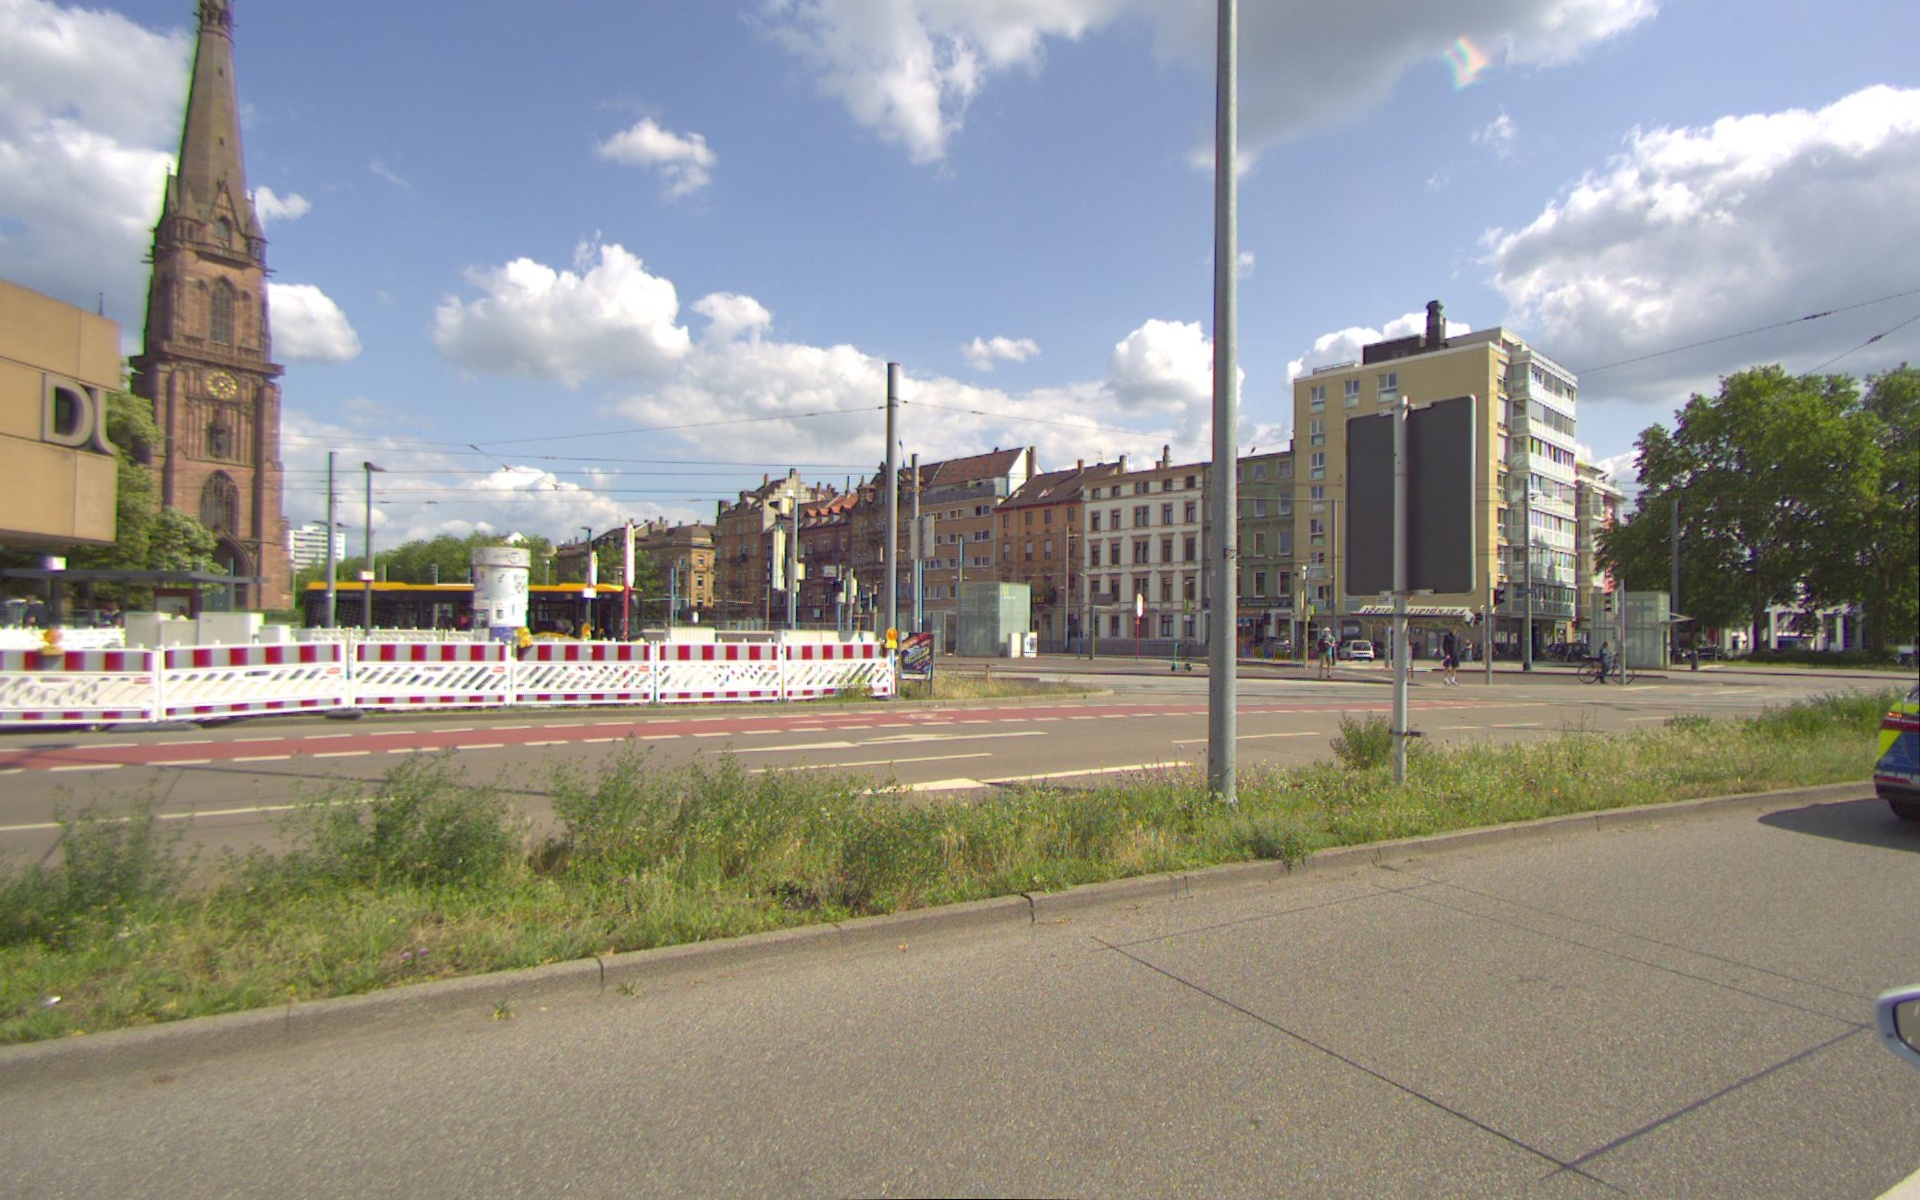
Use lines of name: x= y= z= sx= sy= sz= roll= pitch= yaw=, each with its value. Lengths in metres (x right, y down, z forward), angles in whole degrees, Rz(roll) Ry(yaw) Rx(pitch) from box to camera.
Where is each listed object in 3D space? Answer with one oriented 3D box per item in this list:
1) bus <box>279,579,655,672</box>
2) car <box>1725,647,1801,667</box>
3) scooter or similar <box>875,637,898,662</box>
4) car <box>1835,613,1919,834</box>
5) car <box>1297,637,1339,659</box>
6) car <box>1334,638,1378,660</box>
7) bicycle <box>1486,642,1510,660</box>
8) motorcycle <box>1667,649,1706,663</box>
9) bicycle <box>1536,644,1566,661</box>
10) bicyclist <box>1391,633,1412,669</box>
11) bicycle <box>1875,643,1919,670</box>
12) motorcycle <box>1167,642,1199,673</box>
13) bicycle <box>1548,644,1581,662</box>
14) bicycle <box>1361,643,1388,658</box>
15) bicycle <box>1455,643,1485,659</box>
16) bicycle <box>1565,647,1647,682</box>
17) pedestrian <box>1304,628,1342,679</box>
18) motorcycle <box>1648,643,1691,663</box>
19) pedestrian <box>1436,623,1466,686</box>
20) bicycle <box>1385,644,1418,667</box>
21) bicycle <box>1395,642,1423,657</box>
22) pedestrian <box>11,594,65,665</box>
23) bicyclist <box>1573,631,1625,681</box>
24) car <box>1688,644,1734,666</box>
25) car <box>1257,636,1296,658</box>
bus: x=-18.170 y=0.953 z=37.540 sx=12.586 sy=3.177 sz=2.835 roll=1 pitch=-2 yaw=1
car: x=57.602 y=4.061 z=72.098 sx=1.615 sy=1.344 sz=3.967 roll=3 pitch=-4 yaw=-31
scooter or similar: x=-3.470 y=2.339 z=47.786 sx=0.836 sy=1.120 sz=1.646 roll=2 pitch=-1 yaw=4
car: x=9.147 y=0.947 z=7.948 sx=4.557 sy=1.589 sz=1.873 roll=2 pitch=-2 yaw=-28
car: x=25.903 y=3.476 z=72.739 sx=1.861 sy=1.516 sz=3.903 roll=2 pitch=-3 yaw=4
car: x=28.258 y=3.504 z=71.769 sx=1.861 sy=1.516 sz=3.903 roll=2 pitch=-3 yaw=5
bicycle: x=39.285 y=3.718 z=73.295 sx=1.791 sy=1.275 sz=0.789 roll=2 pitch=-2 yaw=-34
motorcycle: x=49.004 y=3.759 z=67.764 sx=2.003 sy=0.929 sz=0.812 roll=0 pitch=-2 yaw=7
bicycle: x=42.125 y=3.728 z=71.601 sx=1.784 sy=1.162 sz=0.792 roll=0 pitch=-2 yaw=43
bicyclist: x=23.068 y=2.672 z=52.439 sx=0.768 sy=1.821 sz=0.706 roll=2 pitch=0 yaw=41
bicycle: x=53.035 y=3.189 z=56.577 sx=0.807 sy=1.433 sz=2.146 roll=1 pitch=-1 yaw=-44
motorcycle: x=9.221 y=2.353 z=41.511 sx=0.478 sy=1.253 sz=1.437 roll=2 pitch=-3 yaw=-27
bicycle: x=43.363 y=3.794 z=72.021 sx=1.922 sy=1.162 sz=0.792 roll=0 pitch=-2 yaw=43
bicycle: x=32.344 y=3.916 z=78.419 sx=1.783 sy=1.118 sz=0.793 roll=0 pitch=-2 yaw=42
bicycle: x=37.182 y=3.735 z=73.233 sx=1.783 sy=1.118 sz=0.793 roll=0 pitch=-2 yaw=42
bicycle: x=23.215 y=2.303 z=36.121 sx=0.984 sy=1.204 sz=2.281 roll=2 pitch=-3 yaw=-32
pedestrian: x=13.126 y=1.931 z=36.301 sx=1.015 sy=1.821 sz=0.762 roll=2 pitch=0 yaw=-27
motorcycle: x=45.430 y=3.395 z=64.354 sx=0.890 sy=1.254 sz=2.214 roll=0 pitch=-2 yaw=-12
pedestrian: x=15.543 y=1.723 z=31.795 sx=0.753 sy=1.928 sz=0.825 roll=2 pitch=0 yaw=29
bicycle: x=23.037 y=2.874 z=52.398 sx=0.877 sy=1.153 sz=2.345 roll=2 pitch=-1 yaw=41
bicycle: x=34.209 y=3.750 z=76.558 sx=1.783 sy=1.118 sz=0.793 roll=0 pitch=-2 yaw=42
pedestrian: x=-21.843 y=0.694 z=23.806 sx=0.549 sy=1.651 sz=0.732 roll=1 pitch=-1 yaw=-2
bicyclist: x=23.112 y=2.022 z=36.338 sx=0.984 sy=1.753 sz=1.290 roll=2 pitch=-3 yaw=-32
car: x=53.994 y=3.967 z=72.215 sx=3.971 sy=1.431 sz=1.888 roll=4 pitch=-4 yaw=-42
car: x=23.718 y=3.539 z=75.395 sx=1.861 sy=1.516 sz=3.903 roll=2 pitch=-3 yaw=4
